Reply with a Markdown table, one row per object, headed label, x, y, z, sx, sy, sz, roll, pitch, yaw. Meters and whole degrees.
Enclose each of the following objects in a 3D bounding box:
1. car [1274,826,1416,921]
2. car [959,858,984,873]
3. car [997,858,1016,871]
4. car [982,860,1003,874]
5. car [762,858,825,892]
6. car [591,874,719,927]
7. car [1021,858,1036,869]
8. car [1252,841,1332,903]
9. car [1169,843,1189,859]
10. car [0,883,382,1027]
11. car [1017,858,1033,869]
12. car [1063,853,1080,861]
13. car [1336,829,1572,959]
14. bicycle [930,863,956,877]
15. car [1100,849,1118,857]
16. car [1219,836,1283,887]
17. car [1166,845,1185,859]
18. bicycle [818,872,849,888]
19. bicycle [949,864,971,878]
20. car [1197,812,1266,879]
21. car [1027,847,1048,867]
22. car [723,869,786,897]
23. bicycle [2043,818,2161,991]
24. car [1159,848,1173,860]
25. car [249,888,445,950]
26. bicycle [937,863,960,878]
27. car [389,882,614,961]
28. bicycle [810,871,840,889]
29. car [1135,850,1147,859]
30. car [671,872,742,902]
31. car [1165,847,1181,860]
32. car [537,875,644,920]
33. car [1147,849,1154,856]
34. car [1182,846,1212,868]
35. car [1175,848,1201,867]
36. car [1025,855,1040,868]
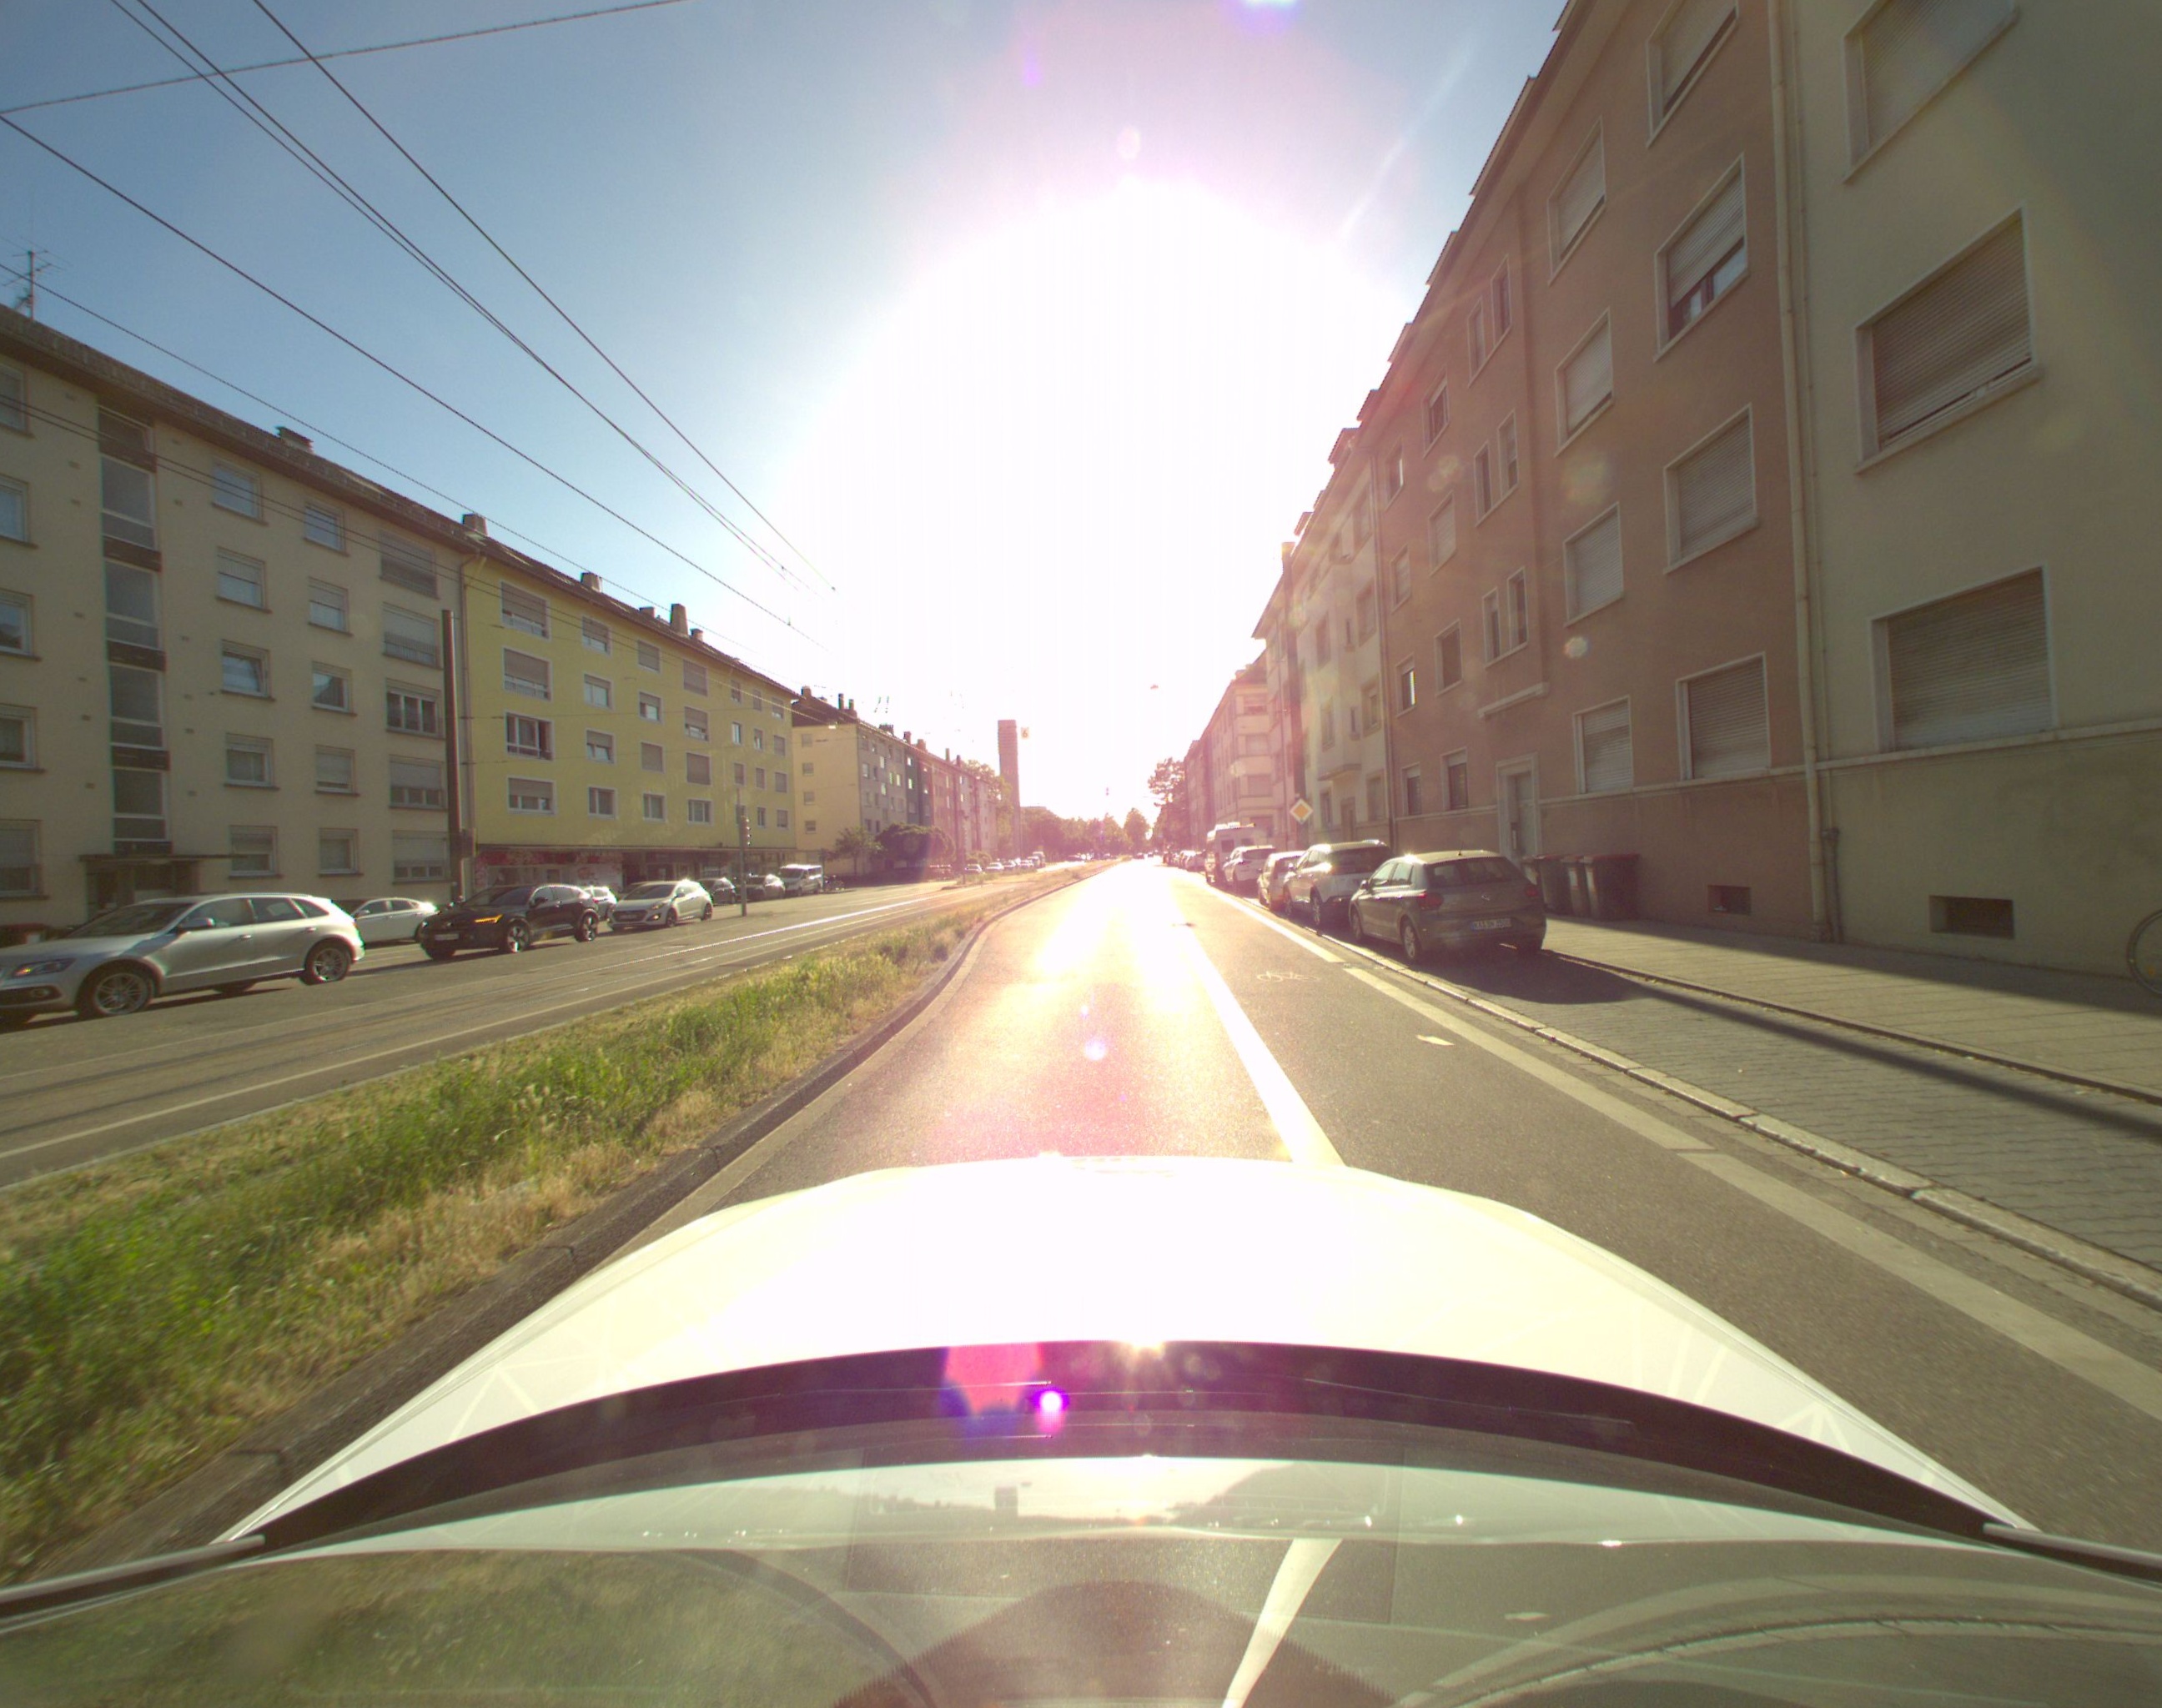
| label | x | y | z | sx | sy | sz | roll | pitch | yaw |
| --- | --- | --- | --- | --- | --- | --- | --- | --- | --- |
| car | 5.410 | 0.365 | 17.268 | 1.655 | 1.644 | 4.186 | -5 | 0 | 2 |
| car | -12.075 | 1.303 | 90.105 | 1.986 | 1.453 | 4.001 | -3 | -2 | 2 |
| car | -10.374 | 1.502 | 113.219 | 1.986 | 1.554 | 4.001 | -3 | -2 | 2 |
| car | -11.205 | 1.711 | 102.905 | 1.986 | 1.581 | 4.001 | -3 | -2 | 2 |
| car | -19.166 | 1.364 | 54.587 | 1.995 | 2.106 | 5.309 | -3 | -1 | 3 |
| car | -13.624 | 1.438 | 26.369 | 1.817 | 1.446 | 4.283 | -3 | -1 | 0 |
| car | -8.578 | 1.577 | 132.924 | 1.986 | 1.717 | 4.001 | -3 | -2 | 2 |
| car | 5.627 | 0.440 | 22.056 | 1.495 | 1.426 | 3.459 | -5 | 0 | 6 |
| car | 10.919 | -0.330 | 90.773 | 1.889 | 1.487 | 3.742 | -3 | -2 | 3 |
| car | -13.787 | 1.396 | 12.496 | 1.857 | 1.577 | 4.634 | -5 | 0 | 3 |
| car | -8.818 | 1.451 | 127.937 | 1.986 | 1.554 | 4.001 | -3 | -2 | 2 |
| car | -2.422 | 0.734 | 206.510 | 4.291 | 1.783 | 1.998 | -3 | -2 | -2 |
| car | 5.285 | 0.505 | 12.212 | 1.765 | 1.471 | 4.097 | -5 | 0 | 3 |
| bicycle | -13.467 | 1.571 | 79.616 | 2.301 | 1.305 | 0.913 | -3 | -3 | 0 |
| car | 7.224 | -0.224 | 209.074 | 4.007 | 1.684 | 1.983 | -2 | -3 | -25 |
| car | 6.202 | 0.258 | 30.071 | 1.583 | 1.634 | 3.921 | -5 | 0 | 3 |
| car | 11.428 | -0.240 | 98.596 | 1.889 | 1.487 | 3.742 | -3 | -2 | 3 |
| bicycle | -18.508 | 1.941 | 60.963 | 2.073 | 1.022 | 0.801 | -3 | -3 | -10 |
| bicycle | -12.431 | 1.710 | 83.812 | 2.130 | 1.324 | 0.892 | -2 | -3 | -14 |
| car | 6.791 | -0.348 | 37.422 | 2.150 | 2.651 | 5.647 | -5 | 0 | 3 |
| car | -7.901 | 0.619 | 148.431 | 2.974 | 3.238 | 6.796 | -3 | -2 | 2 |
| car | -19.411 | 1.735 | 48.575 | 1.755 | 1.488 | 3.923 | -3 | -2 | 7 |
| bicycle | 7.897 | 0.351 | 5.484 | 0.626 | 1.192 | 1.884 | -5 | 0 | 5 |
| car | 12.934 | 0.034 | 124.529 | 1.889 | 1.487 | 3.742 | -3 | -2 | 3 |
| car | -21.177 | 1.825 | 23.760 | 1.768 | 1.435 | 4.061 | -3 | -1 | 5 |
| bicycle | -13.248 | 1.635 | 81.484 | 2.122 | 1.324 | 0.896 | -3 | -3 | -2 |
| car | -13.660 | 1.518 | 19.631 | 1.955 | 1.480 | 4.571 | -3 | -1 | 2 |
| bicycle | -18.531 | 1.875 | 58.990 | 1.972 | 1.206 | 0.691 | -2 | -3 | -23 |
| car | 13.362 | 0.216 | 181.780 | 1.989 | 1.783 | 3.995 | -3 | -2 | -3 |
| car | -19.960 | 1.730 | 43.583 | 1.689 | 1.426 | 3.774 | -3 | -1 | 7 |
| car | 12.331 | -0.039 | 109.231 | 1.889 | 1.487 | 3.742 | -3 | -2 | 3 |
| car | -20.285 | 1.759 | 33.860 | 1.823 | 1.581 | 3.807 | -3 | 0 | 5 |
| car | 19.668 | -0.485 | 230.093 | 1.836 | 1.687 | 4.003 | -3 | -2 | 3 |
| car | 9.050 | 0.287 | 64.004 | 1.890 | 1.487 | 3.740 | -3 | -2 | 2 |
| car | 9.759 | 0.330 | 74.569 | 1.890 | 1.487 | 3.740 | -3 | -2 | 2 |
| car | -8.260 | 1.363 | 139.582 | 1.986 | 1.965 | 4.753 | -3 | -2 | 2 |
